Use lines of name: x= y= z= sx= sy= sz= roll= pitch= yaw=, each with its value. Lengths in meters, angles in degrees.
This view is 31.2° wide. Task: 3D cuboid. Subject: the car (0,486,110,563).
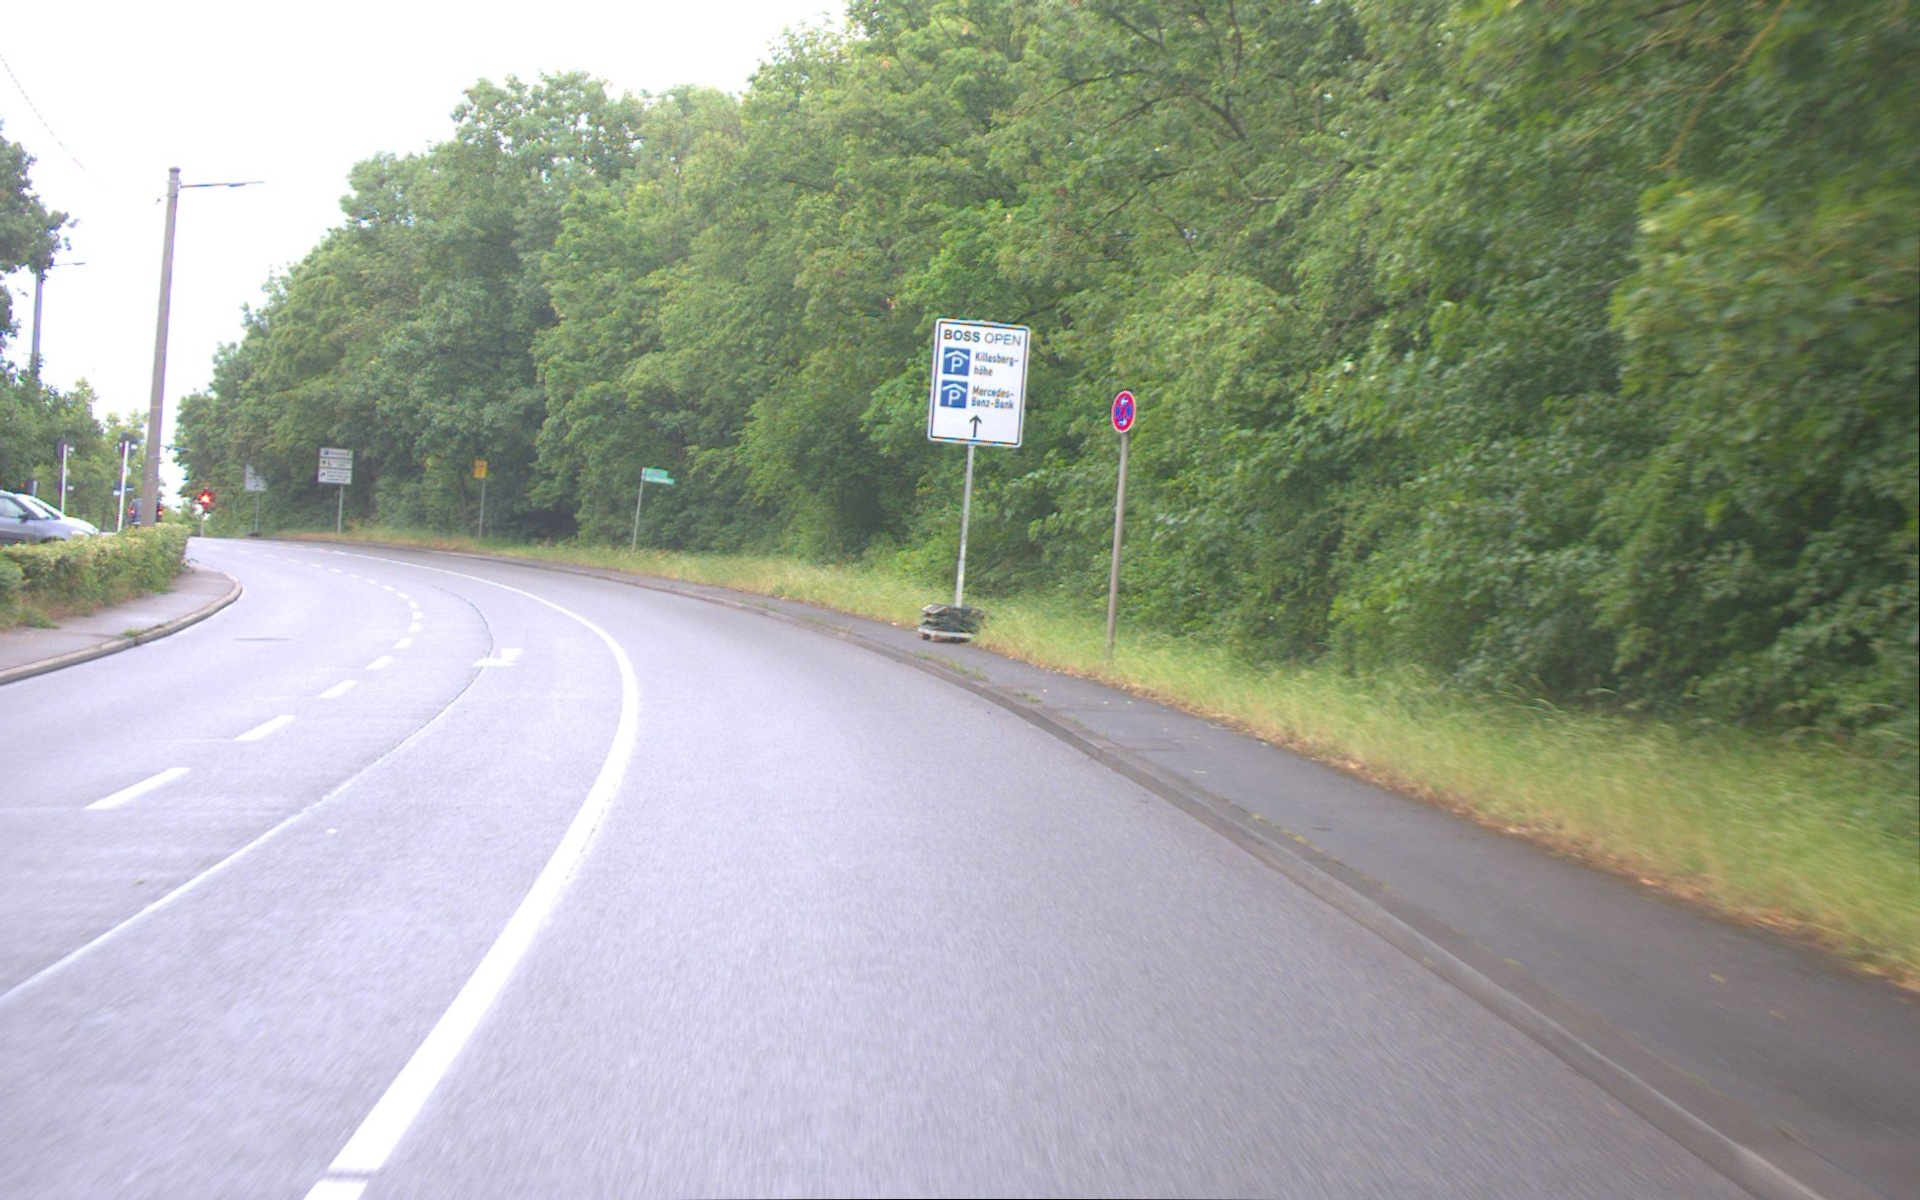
car: x=-20.656 y=-1.703 z=75.864 sx=3.644 sy=1.586 sz=1.852 roll=2 pitch=1 yaw=-14

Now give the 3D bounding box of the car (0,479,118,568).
car: x=-19.560 y=-1.607 z=70.312 sx=4.290 sy=1.702 sz=2.001 roll=2 pitch=1 yaw=-7

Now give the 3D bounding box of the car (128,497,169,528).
car: x=-41.457 y=-4.487 z=175.612 sx=1.934 sy=1.493 sz=4.319 roll=2 pitch=1 yaw=-14
